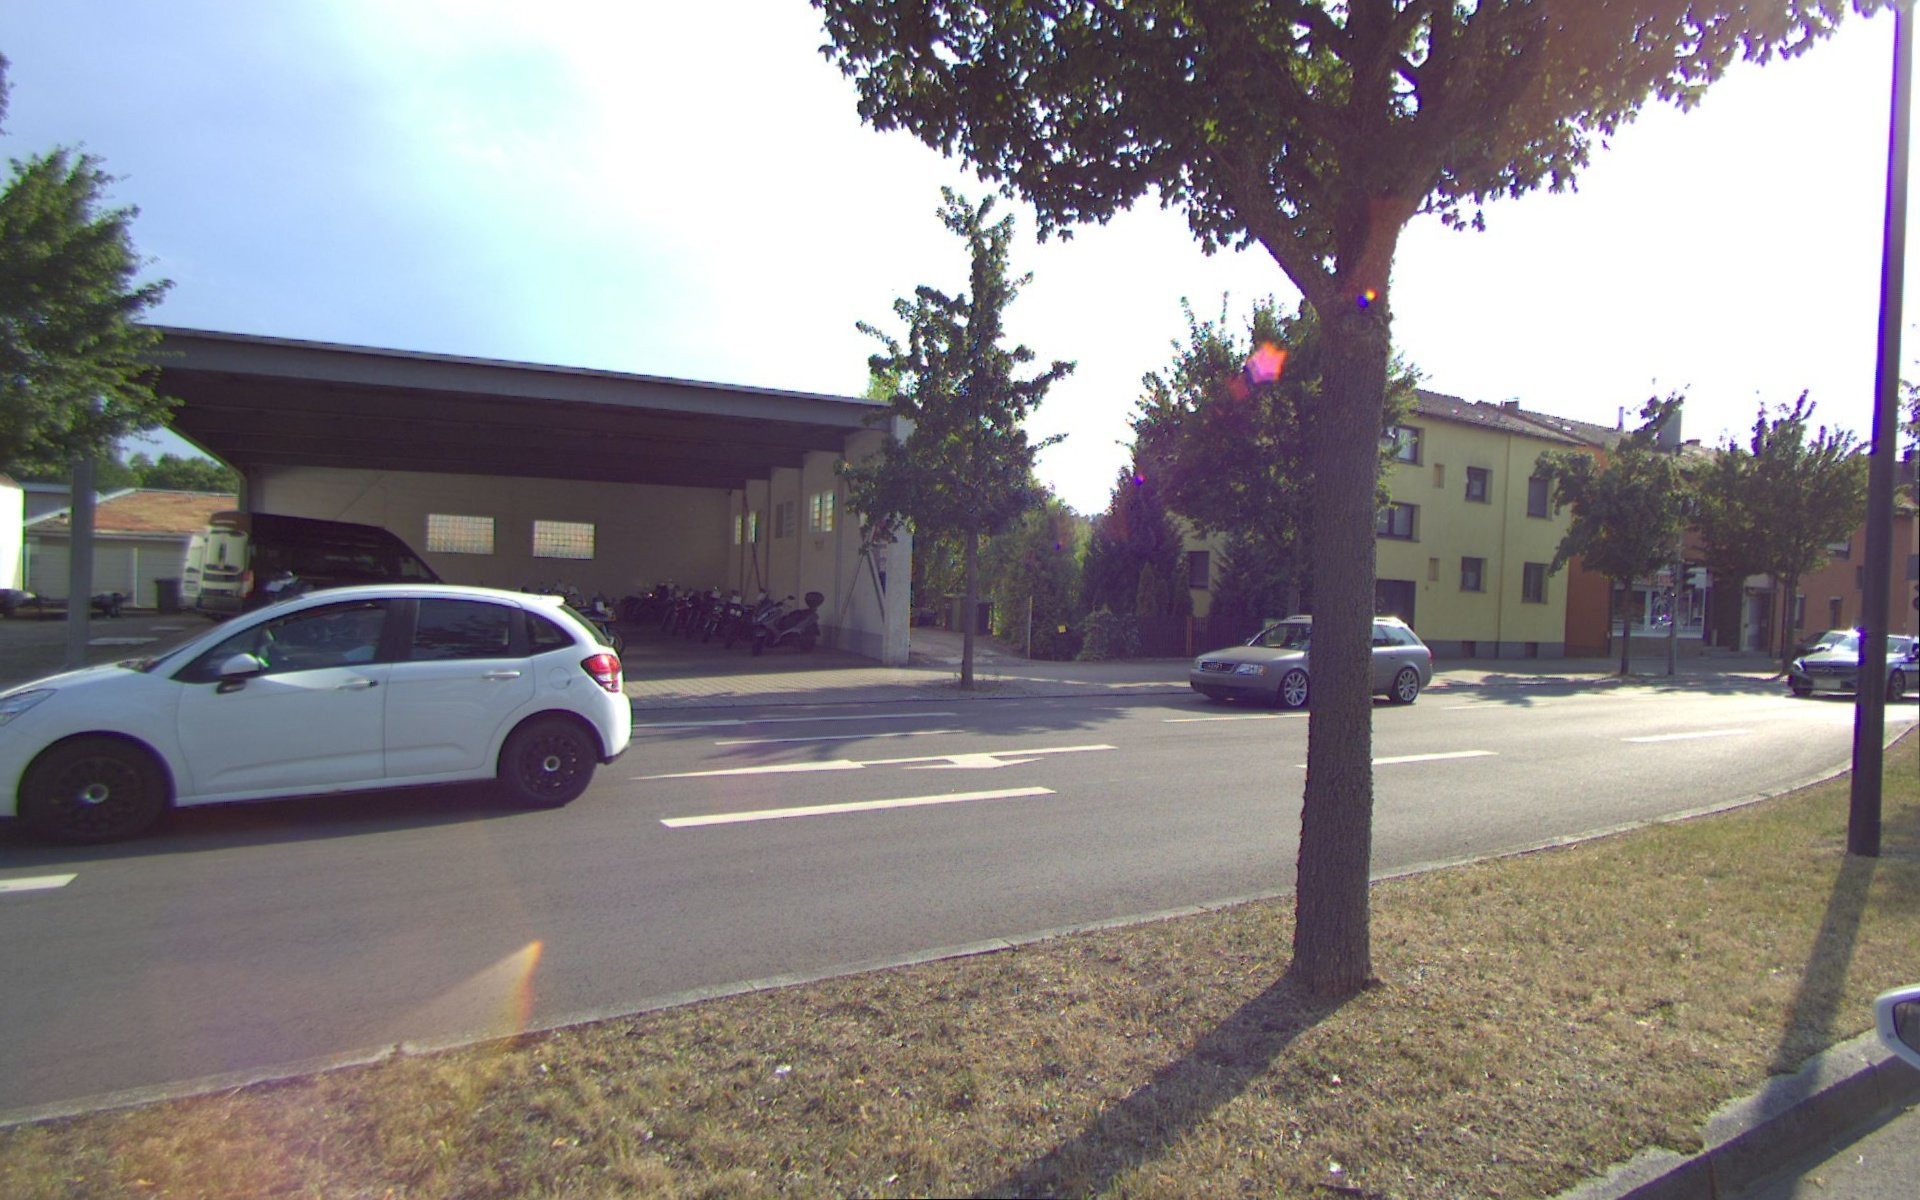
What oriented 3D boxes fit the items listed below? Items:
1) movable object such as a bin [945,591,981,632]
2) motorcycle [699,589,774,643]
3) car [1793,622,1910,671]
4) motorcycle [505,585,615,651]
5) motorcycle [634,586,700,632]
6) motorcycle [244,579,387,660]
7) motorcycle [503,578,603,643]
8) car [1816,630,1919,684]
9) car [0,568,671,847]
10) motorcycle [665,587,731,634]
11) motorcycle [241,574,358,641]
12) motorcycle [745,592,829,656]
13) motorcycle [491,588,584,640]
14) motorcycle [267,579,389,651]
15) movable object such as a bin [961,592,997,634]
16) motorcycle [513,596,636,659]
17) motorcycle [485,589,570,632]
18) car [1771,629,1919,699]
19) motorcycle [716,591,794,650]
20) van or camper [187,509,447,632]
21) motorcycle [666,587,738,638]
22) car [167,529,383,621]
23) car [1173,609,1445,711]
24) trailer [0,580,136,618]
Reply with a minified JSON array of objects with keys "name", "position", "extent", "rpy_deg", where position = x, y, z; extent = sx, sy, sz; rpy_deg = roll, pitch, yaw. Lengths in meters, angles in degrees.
[{"name":"movable object such as a bin","position":[0.086,0.336,28.553],"extent":[0.712,1.101,0.727],"rpy_deg":[1,3,-30]},{"name":"motorcycle","position":[-5.746,0.406,25.919],"extent":[0.612,1.325,2.086],"rpy_deg":[2,0,30]},{"name":"car","position":[32.426,1.666,36.519],"extent":[3.949,1.573,1.836],"rpy_deg":[2,2,-28]},{"name":"motorcycle","position":[-8.630,0.384,21.706],"extent":[2.111,1.347,0.563],"rpy_deg":[2,0,0]},{"name":"motorcycle","position":[-8.775,0.274,30.201],"extent":[0.553,1.325,2.086],"rpy_deg":[2,0,30]},{"name":"motorcycle","position":[-11.339,0.337,17.742],"extent":[0.659,1.329,2.000],"rpy_deg":[2,0,36]},{"name":"motorcycle","position":[-9.660,0.254,23.876],"extent":[2.111,1.468,0.594],"rpy_deg":[2,0,0]},{"name":"car","position":[28.001,1.689,29.334],"extent":[4.555,1.440,1.848],"rpy_deg":[2,0,-4]},{"name":"car","position":[-4.233,0.613,7.060],"extent":[3.909,1.517,1.792],"rpy_deg":[2,0,-30]},{"name":"motorcycle","position":[-7.609,0.306,29.253],"extent":[0.553,1.325,2.086],"rpy_deg":[2,0,30]},{"name":"motorcycle","position":[-13.770,0.151,21.011],"extent":[0.637,1.329,2.007],"rpy_deg":[2,0,23]},{"name":"motorcycle","position":[-3.729,0.510,21.870],"extent":[0.553,1.325,2.112],"rpy_deg":[2,0,30]},{"name":"motorcycle","position":[-10.956,0.362,26.091],"extent":[2.111,1.275,0.647],"rpy_deg":[2,0,0]},{"name":"motorcycle","position":[-12.336,0.288,19.675],"extent":[0.637,1.329,2.007],"rpy_deg":[2,0,23]},{"name":"movable object such as a bin","position":[0.529,0.367,27.783],"extent":[0.688,1.101,0.727],"rpy_deg":[1,3,-30]},{"name":"motorcycle","position":[-7.478,0.527,19.529],"extent":[2.111,1.139,0.631],"rpy_deg":[2,0,0]},{"name":"motorcycle","position":[-12.230,0.297,28.432],"extent":[2.111,1.138,0.563],"rpy_deg":[2,0,0]},{"name":"car","position":[20.302,1.396,22.245],"extent":[4.414,1.367,1.776],"rpy_deg":[2,0,-23]},{"name":"motorcycle","position":[-4.818,0.480,23.744],"extent":[0.553,1.325,2.086],"rpy_deg":[2,0,30]},{"name":"van or camper","position":[-15.622,-0.629,24.727],"extent":[1.965,2.716,5.026],"rpy_deg":[2,0,32]},{"name":"motorcycle","position":[-6.968,0.344,27.261],"extent":[0.573,1.325,2.086],"rpy_deg":[2,0,30]},{"name":"car","position":[-18.461,-0.627,27.338],"extent":[2.158,2.279,4.386],"rpy_deg":[2,0,19]},{"name":"car","position":[5.951,0.965,16.961],"extent":[4.655,1.482,1.678],"rpy_deg":[2,0,-30]},{"name":"trailer","position":[-24.625,-0.031,27.798],"extent":[2.425,0.836,3.163],"rpy_deg":[2,2,-33]}]
